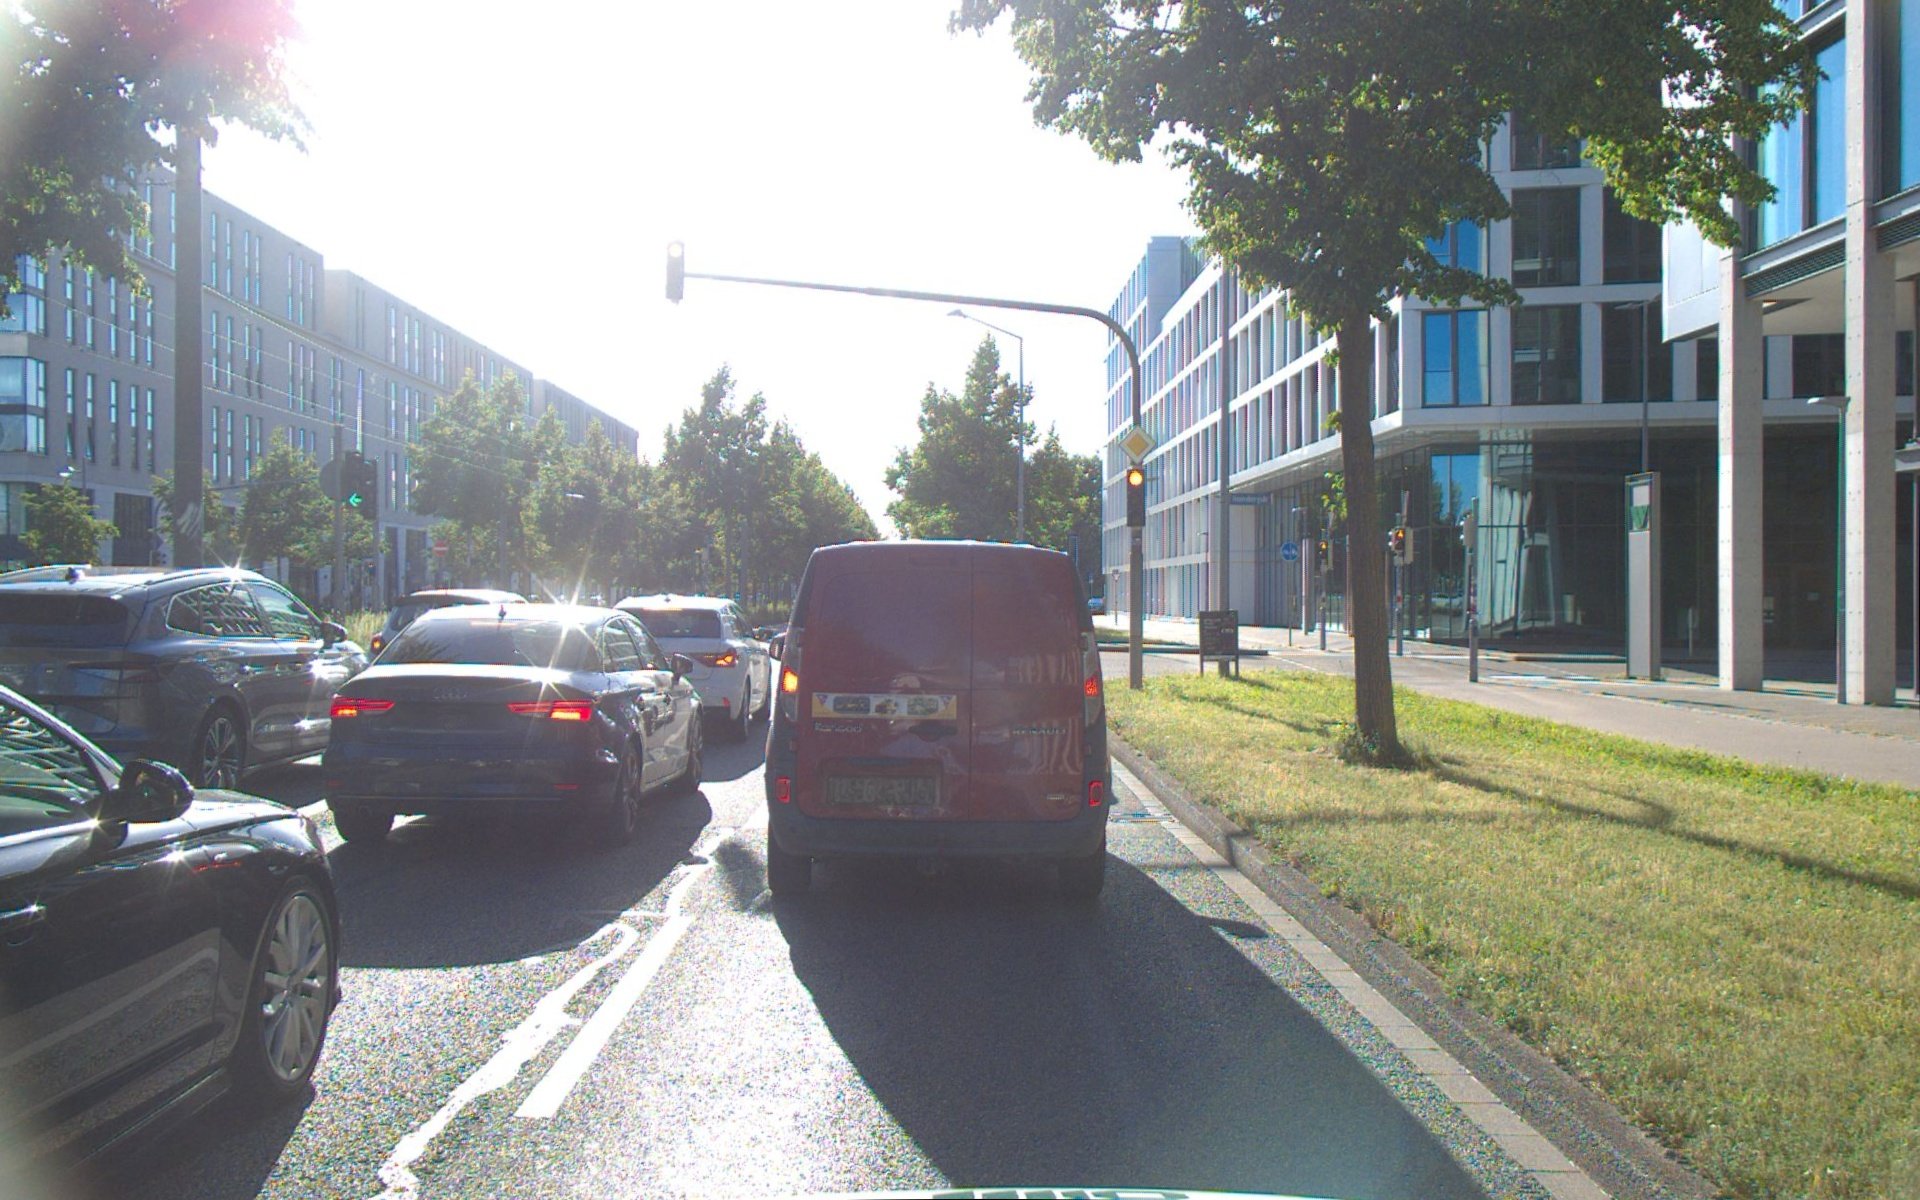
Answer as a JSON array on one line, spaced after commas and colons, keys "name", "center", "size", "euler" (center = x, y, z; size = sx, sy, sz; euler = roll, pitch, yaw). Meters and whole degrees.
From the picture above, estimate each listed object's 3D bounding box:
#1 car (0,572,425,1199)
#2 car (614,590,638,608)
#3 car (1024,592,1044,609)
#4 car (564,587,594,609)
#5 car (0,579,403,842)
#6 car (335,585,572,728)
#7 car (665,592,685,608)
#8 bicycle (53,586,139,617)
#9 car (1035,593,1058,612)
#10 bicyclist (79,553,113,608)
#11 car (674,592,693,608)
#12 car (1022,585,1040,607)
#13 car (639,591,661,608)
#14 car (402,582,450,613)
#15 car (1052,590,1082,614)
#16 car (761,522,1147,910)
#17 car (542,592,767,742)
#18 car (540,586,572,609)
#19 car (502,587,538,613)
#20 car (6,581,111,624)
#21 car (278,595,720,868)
[{"name": "car", "center": [-2.711, 0.702, 3.278], "size": [1.836, 1.510, 4.965], "euler": [0, 0, -2]}, {"name": "car", "center": [-36.766, -0.127, 182.246], "size": [1.953, 2.049, 3.999], "euler": [0, 0, -1]}, {"name": "car", "center": [8.020, 0.077, 180.340], "size": [1.953, 1.813, 3.999], "euler": [0, 0, -1]}, {"name": "car", "center": [-36.426, -0.180, 158.266], "size": [1.953, 2.049, 3.999], "euler": [0, 0, -1]}, {"name": "car", "center": [-5.632, 0.640, 12.067], "size": [1.764, 1.472, 4.565], "euler": [3, 0, -4]}, {"name": "car", "center": [-6.227, 0.623, 20.886], "size": [1.764, 1.509, 4.565], "euler": [3, 0, -4]}, {"name": "car", "center": [-37.409, -0.057, 217.068], "size": [1.953, 2.049, 3.999], "euler": [0, 0, -1]}, {"name": "bicycle", "center": [-33.518, 0.053, 64.171], "size": [2.883, 1.211, 0.817], "euler": [0, 0, -2]}, {"name": "car", "center": [8.380, 0.240, 161.145], "size": [1.953, 1.813, 3.999], "euler": [0, 0, -1]}, {"name": "bicyclist", "center": [-33.526, -0.764, 64.183], "size": [0.921, 2.129, 0.817], "euler": [0, 0, -2]}, {"name": "car", "center": [-37.223, -0.034, 222.694], "size": [1.953, 2.049, 3.999], "euler": [0, 0, -1]}, {"name": "car", "center": [8.528, -0.504, 198.866], "size": [1.953, 2.540, 4.986], "euler": [0, 0, -1]}, {"name": "car", "center": [-37.267, -0.101, 199.053], "size": [1.953, 2.049, 3.999], "euler": [0, 0, -1]}, {"name": "car", "center": [-35.316, -0.187, 109.503], "size": [1.953, 2.049, 3.999], "euler": [0, 0, -1]}, {"name": "car", "center": [8.294, 0.148, 128.354], "size": [1.953, 1.813, 3.999], "euler": [0, 0, -1]}, {"name": "car", "center": [-0.058, 0.536, 9.754], "size": [1.804, 1.812, 3.999], "euler": [0, 0, -1]}, {"name": "car", "center": [-3.176, 0.637, 17.907], "size": [1.767, 1.451, 3.900], "euler": [0, 0, -1]}, {"name": "car", "center": [-36.407, -0.204, 149.166], "size": [1.953, 2.049, 3.999], "euler": [0, 0, -1]}, {"name": "car", "center": [-36.283, -0.011, 136.339], "size": [1.953, 2.049, 3.999], "euler": [0, 0, -1]}, {"name": "car", "center": [-33.219, 0.079, 61.046], "size": [1.729, 1.546, 3.999], "euler": [0, 0, -1]}, {"name": "car", "center": [-2.795, 0.704, 11.079], "size": [1.804, 1.451, 4.338], "euler": [0, 0, -1]}]
